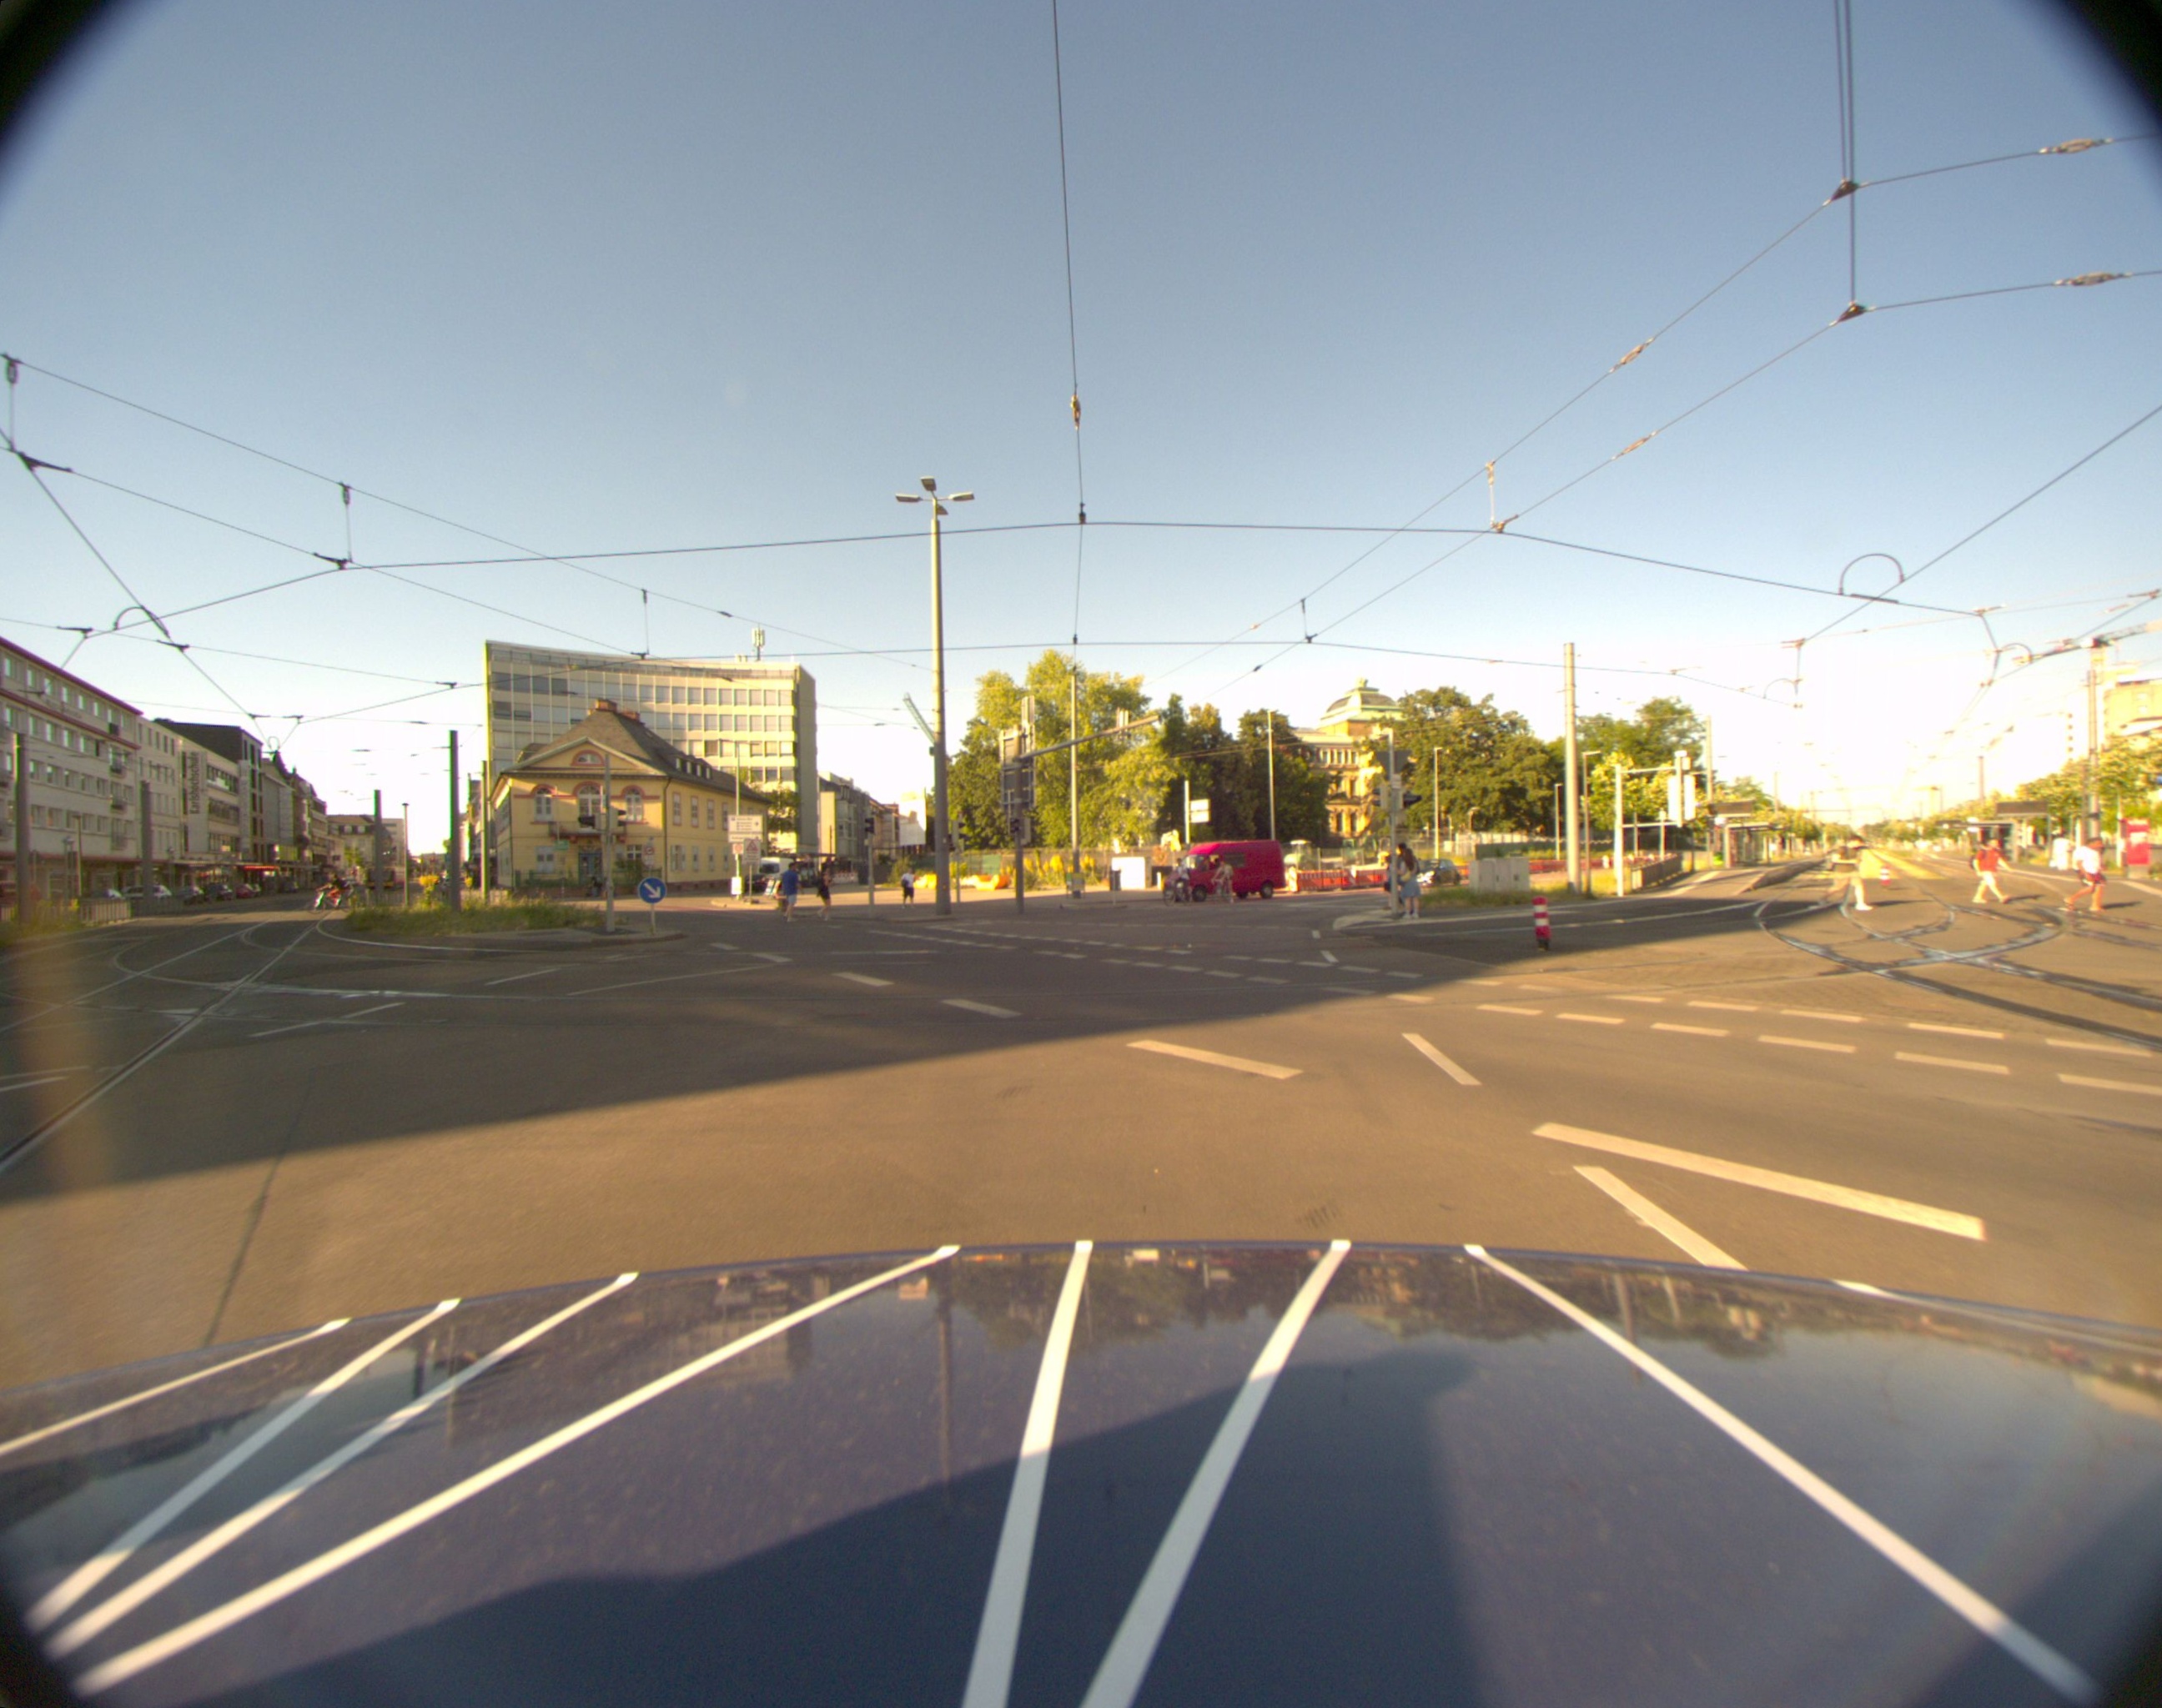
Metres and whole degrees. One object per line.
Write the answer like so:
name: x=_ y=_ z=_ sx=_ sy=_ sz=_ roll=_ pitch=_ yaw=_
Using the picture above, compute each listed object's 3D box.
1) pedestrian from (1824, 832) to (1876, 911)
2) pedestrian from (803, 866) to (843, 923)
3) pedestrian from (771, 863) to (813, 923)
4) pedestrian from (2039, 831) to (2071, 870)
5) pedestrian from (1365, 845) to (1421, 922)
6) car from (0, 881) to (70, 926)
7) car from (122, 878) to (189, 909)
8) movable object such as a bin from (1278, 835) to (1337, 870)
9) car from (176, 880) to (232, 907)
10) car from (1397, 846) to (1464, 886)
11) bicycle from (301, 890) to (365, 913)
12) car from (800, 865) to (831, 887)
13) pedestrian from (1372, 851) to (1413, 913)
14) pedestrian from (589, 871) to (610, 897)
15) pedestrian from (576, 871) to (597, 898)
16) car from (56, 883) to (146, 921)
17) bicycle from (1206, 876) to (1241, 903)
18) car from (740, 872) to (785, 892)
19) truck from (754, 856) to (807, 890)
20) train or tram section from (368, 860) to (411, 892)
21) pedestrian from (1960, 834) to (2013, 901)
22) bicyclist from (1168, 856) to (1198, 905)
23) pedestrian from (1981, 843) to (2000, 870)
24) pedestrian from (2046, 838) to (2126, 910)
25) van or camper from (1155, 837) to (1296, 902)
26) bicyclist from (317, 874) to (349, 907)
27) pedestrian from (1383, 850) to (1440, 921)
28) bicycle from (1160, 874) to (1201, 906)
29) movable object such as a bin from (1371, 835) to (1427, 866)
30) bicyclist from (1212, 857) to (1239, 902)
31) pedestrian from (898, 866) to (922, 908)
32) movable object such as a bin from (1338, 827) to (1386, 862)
pedestrian: x=18.607 y=0.422 z=18.397 sx=0.621 sy=1.852 sz=0.786 roll=-2 pitch=-1 yaw=-42
pedestrian: x=-7.850 y=1.221 z=23.157 sx=0.696 sy=1.672 sz=1.043 roll=-3 pitch=-1 yaw=8
pedestrian: x=-8.767 y=1.168 z=23.074 sx=0.696 sy=1.782 sz=1.043 roll=-3 pitch=-1 yaw=8
pedestrian: x=43.088 y=-0.141 z=33.625 sx=0.621 sy=1.662 sz=0.786 roll=-2 pitch=-1 yaw=-42
pedestrian: x=7.677 y=0.718 z=18.707 sx=0.900 sy=1.790 sz=0.787 roll=-3 pitch=0 yaw=-14
car: x=-45.839 y=2.137 z=32.210 sx=1.907 sy=1.831 sz=4.617 roll=-2 pitch=-1 yaw=-31
car: x=-66.055 y=2.801 z=54.314 sx=2.004 sy=2.001 sz=4.861 roll=-2 pitch=-1 yaw=-38
movable object such as a bin: x=18.211 y=-0.155 z=61.002 sx=5.023 sy=2.667 sz=1.995 roll=-2 pitch=-1 yaw=-40
car: x=-71.015 y=3.171 z=61.586 sx=2.004 sy=2.001 sz=4.861 roll=-2 pitch=-1 yaw=-38
car: x=19.088 y=0.640 z=41.423 sx=1.995 sy=2.001 sz=4.008 roll=-3 pitch=-1 yaw=44
bicycle: x=-34.034 y=2.143 z=34.604 sx=0.722 sy=0.942 sz=1.995 roll=-3 pitch=-1 yaw=38
car: x=-25.218 y=2.038 z=72.177 sx=1.713 sy=1.968 sz=3.761 roll=-2 pitch=-1 yaw=-3
pedestrian: x=8.406 y=0.766 z=20.505 sx=0.786 sy=1.630 sz=0.621 roll=-4 pitch=-1 yaw=43
pedestrian: x=-31.015 y=1.915 z=48.957 sx=0.685 sy=1.632 sz=0.819 roll=-3 pitch=-1 yaw=19
pedestrian: x=-31.261 y=1.908 z=47.994 sx=0.685 sy=1.632 sz=0.819 roll=-3 pitch=-1 yaw=20
car: x=-56.536 y=2.755 z=43.946 sx=2.004 sy=2.001 sz=4.861 roll=-2 pitch=-1 yaw=-38
bicycle: x=5.554 y=1.370 z=29.561 sx=0.541 sy=0.995 sz=1.697 roll=-3 pitch=-1 yaw=41
car: x=-23.574 y=2.037 z=56.455 sx=1.713 sy=1.356 sz=4.195 roll=-2 pitch=-1 yaw=-3
truck: x=-24.470 y=1.529 z=62.099 sx=2.300 sy=2.533 sz=5.639 roll=-2 pitch=-1 yaw=-3
train or tram section: x=-88.784 y=2.753 z=97.591 sx=3.723 sy=3.811 sz=13.323 roll=-2 pitch=0 yaw=-42
pedestrian: x=23.252 y=0.357 z=19.528 sx=0.621 sy=1.688 sz=0.786 roll=-2 pitch=-1 yaw=-42
bicyclist: x=3.803 y=0.990 z=28.328 sx=0.541 sy=1.757 sz=1.062 roll=-3 pitch=-1 yaw=41
pedestrian: x=59.326 y=0.155 z=49.566 sx=0.658 sy=1.682 sz=0.773 roll=-3 pitch=-1 yaw=43
pedestrian: x=22.032 y=0.461 z=16.672 sx=0.786 sy=1.538 sz=0.620 roll=-1 pitch=-4 yaw=13
van or camper: x=6.316 y=0.643 z=32.993 sx=5.921 sy=2.513 sz=1.996 roll=-2 pitch=-1 yaw=-26
bicyclist: x=-34.065 y=1.676 z=34.595 sx=0.722 sy=1.448 sz=0.900 roll=-3 pitch=-1 yaw=37
pedestrian: x=7.861 y=0.744 z=18.107 sx=0.900 sy=1.630 sz=0.787 roll=-2 pitch=-1 yaw=-11
bicycle: x=3.695 y=1.319 z=28.162 sx=0.541 sy=1.094 sz=1.812 roll=-3 pitch=-1 yaw=41
movable object such as a bin: x=30.651 y=-0.382 z=73.169 sx=5.877 sy=2.799 sz=1.995 roll=-2 pitch=-1 yaw=-35
bicyclist: x=5.633 y=0.994 z=29.623 sx=0.614 sy=1.735 sz=0.794 roll=-3 pitch=-1 yaw=41
pedestrian: x=-7.342 y=1.404 z=32.581 sx=0.762 sy=1.751 sz=1.006 roll=-2 pitch=-1 yaw=-24
movable object such as a bin: x=28.117 y=-0.992 z=75.990 sx=5.385 sy=3.309 sz=1.995 roll=-2 pitch=-1 yaw=-40
